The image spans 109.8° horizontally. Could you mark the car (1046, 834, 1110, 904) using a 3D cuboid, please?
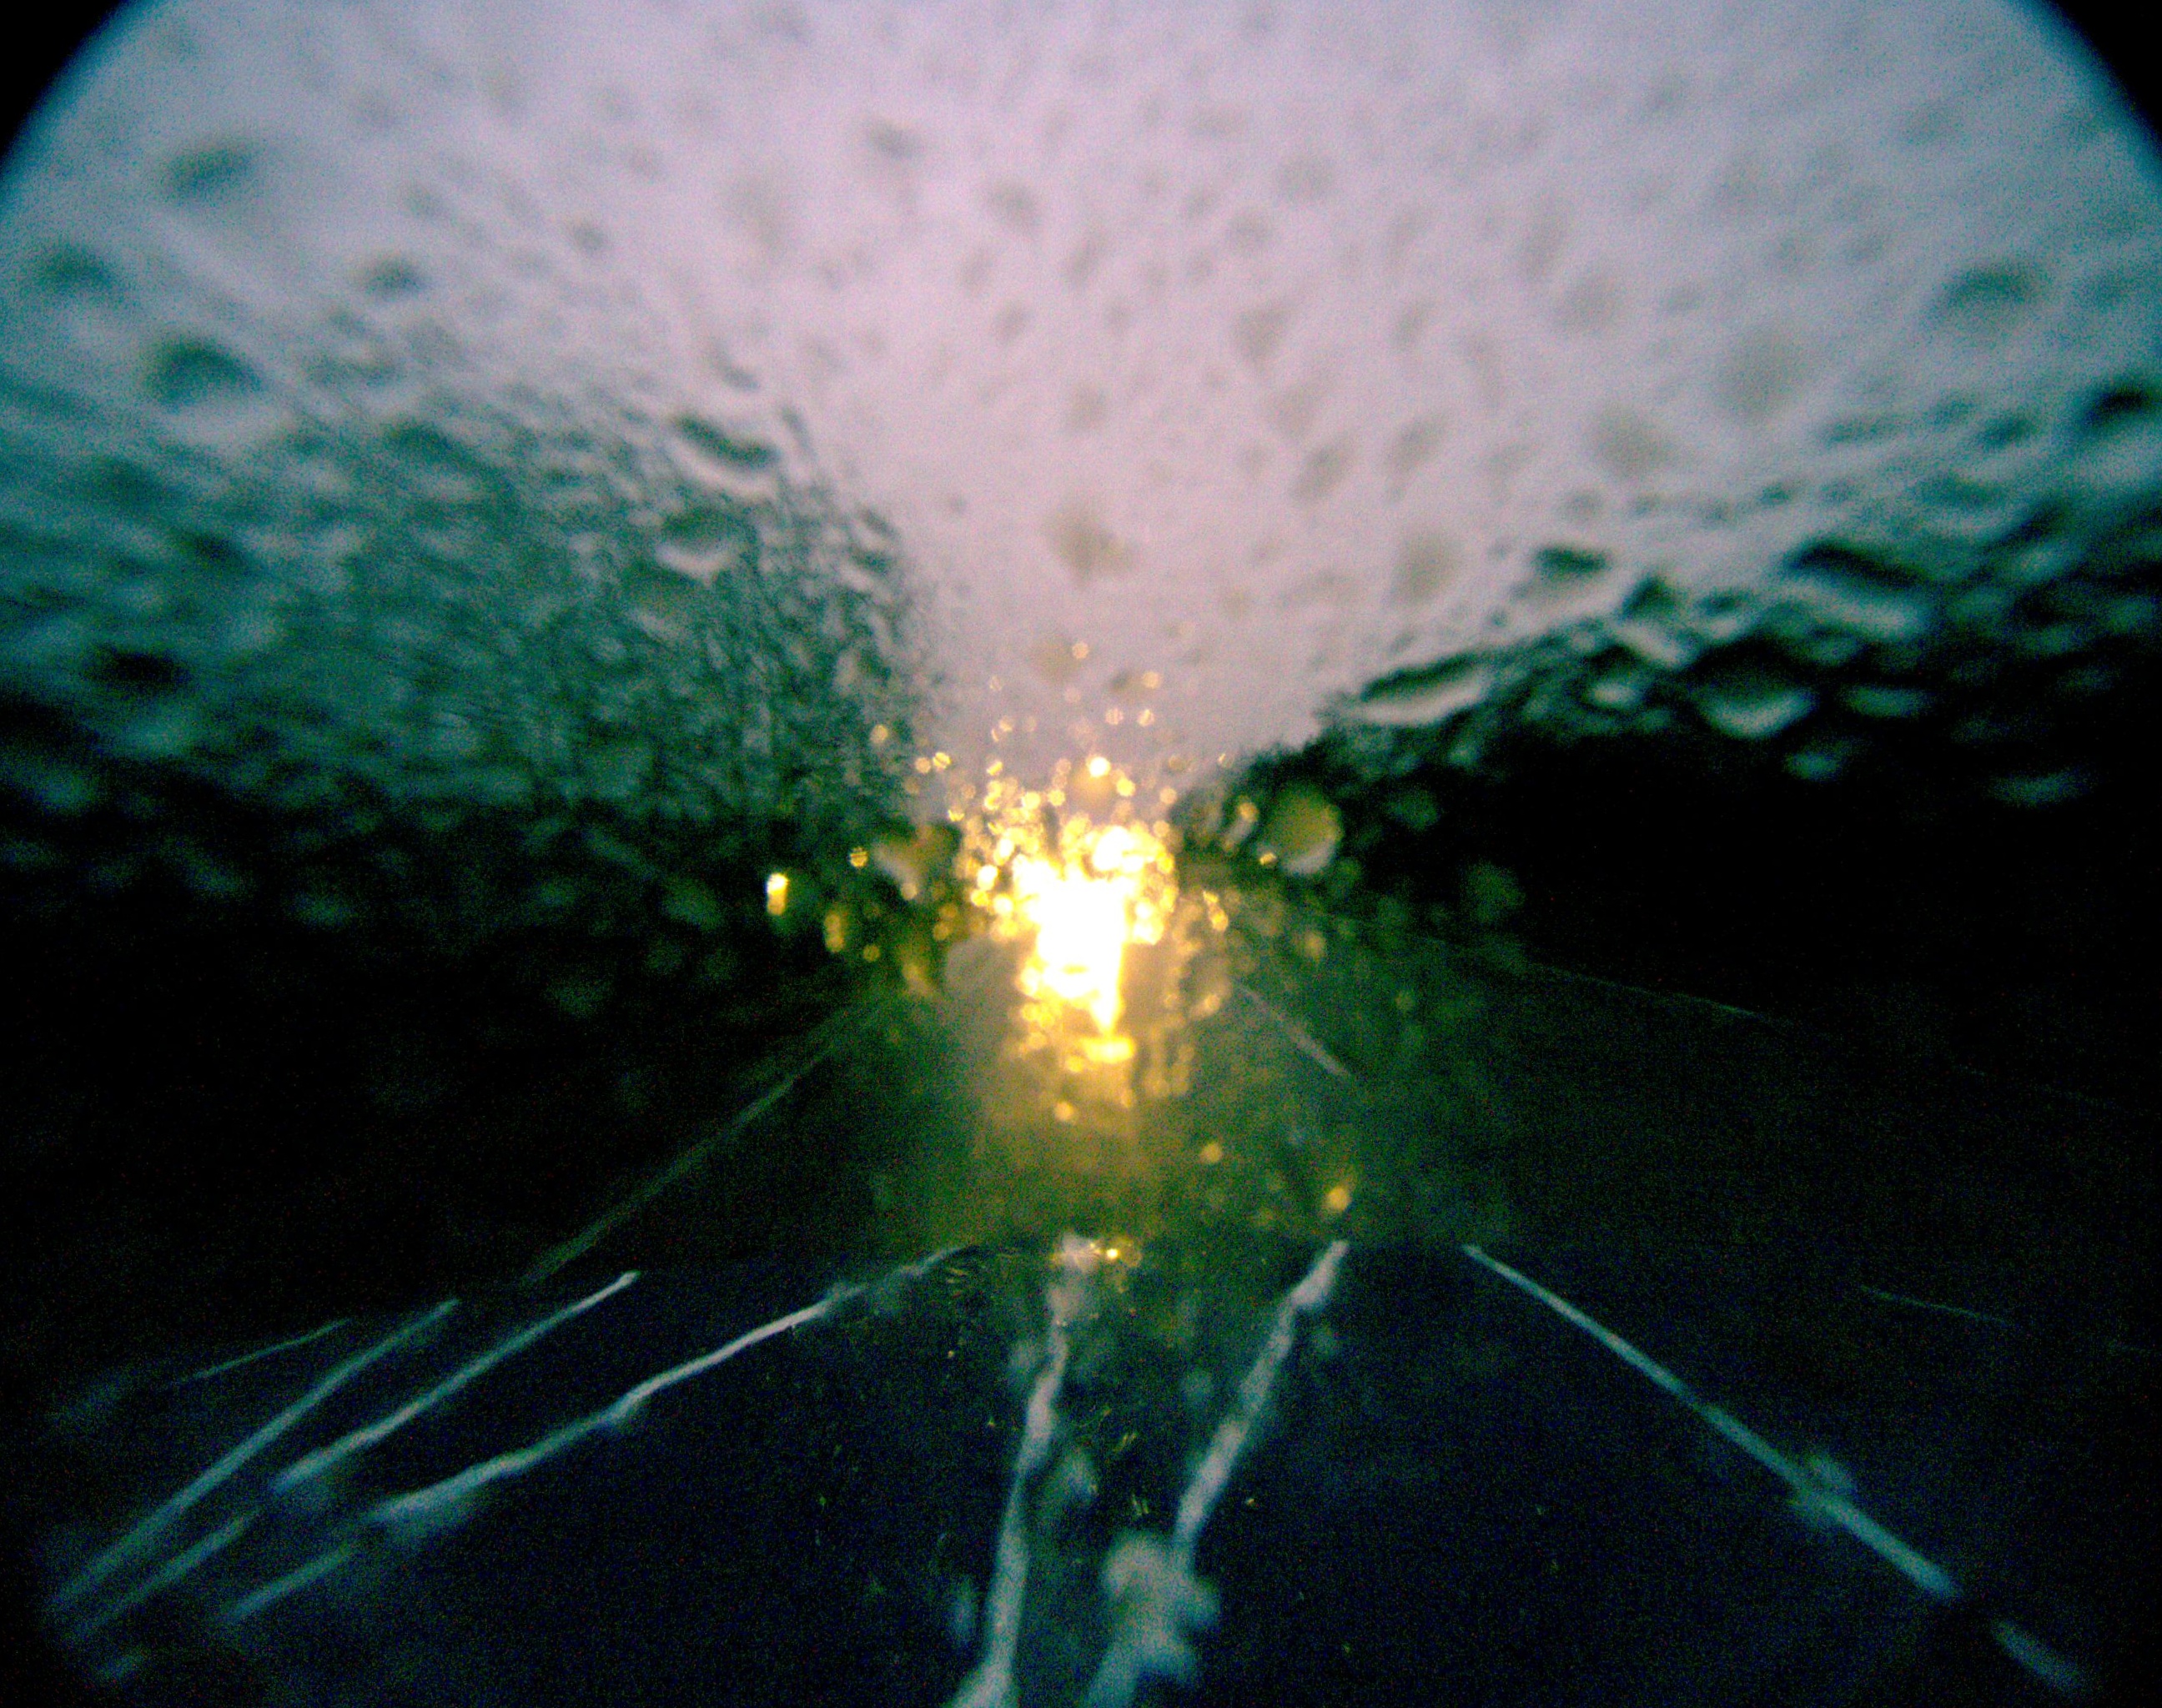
[{"bbox_3d":[-0.015,0.469,26.627,1.953,2.195,4.535,-2,0,2],"label":"car"}]
